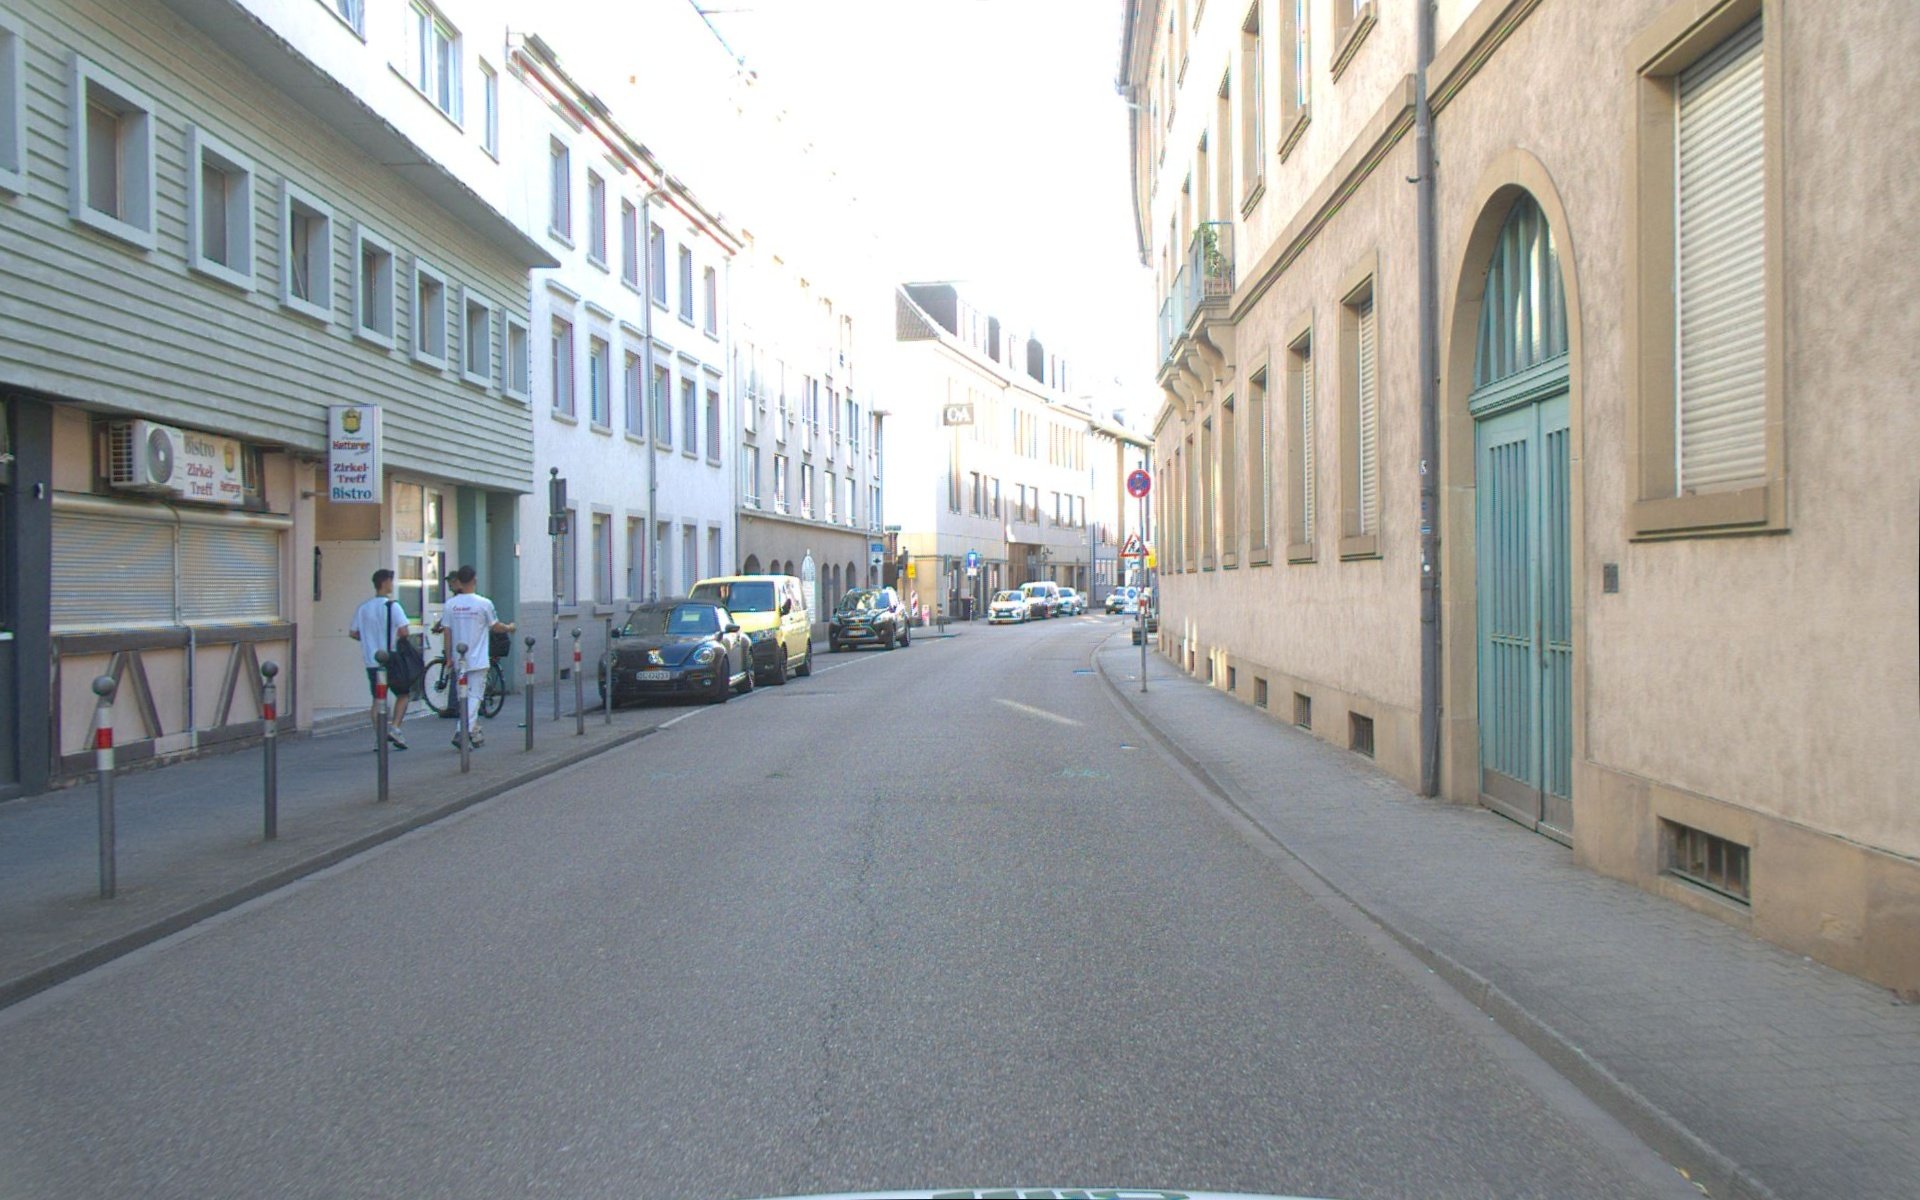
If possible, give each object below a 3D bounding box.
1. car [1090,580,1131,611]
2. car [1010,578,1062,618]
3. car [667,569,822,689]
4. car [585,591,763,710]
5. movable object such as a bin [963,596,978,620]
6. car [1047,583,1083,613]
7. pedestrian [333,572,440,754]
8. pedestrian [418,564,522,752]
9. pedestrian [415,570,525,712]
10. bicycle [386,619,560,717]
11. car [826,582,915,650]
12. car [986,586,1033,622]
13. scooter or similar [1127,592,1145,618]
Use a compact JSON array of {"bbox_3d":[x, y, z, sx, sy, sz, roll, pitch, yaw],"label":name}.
[{"bbox_3d":[8.127,-0.236,89.689,1.680,1.605,4.189,-1,0,-2],"label":"car"},{"bbox_3d":[3.831,-0.116,82.681,1.635,1.850,4.556,-2,0,14],"label":"car"},{"bbox_3d":[-3.828,0.466,30.267,1.841,1.899,4.866,-3,0,3],"label":"car"},{"bbox_3d":[-4.147,0.675,24.625,1.781,1.512,4.077,-3,0,1],"label":"car"},{"bbox_3d":[0.501,0.379,78.412,0.596,1.079,0.714,1,0,5],"label":"movable object such as a bin"},{"bbox_3d":[5.656,-0.120,88.667,1.244,1.533,3.404,-2,0,15],"label":"car"},{"bbox_3d":[-5.567,0.591,16.110,0.658,1.699,0.895,-2,0,2],"label":"pedestrian"},{"bbox_3d":[-4.755,0.548,16.095,0.683,1.764,0.829,-2,0,1],"label":"pedestrian"},{"bbox_3d":[-6.250,0.509,21.118,1.056,1.759,0.801,-1,0,24],"label":"pedestrian"},{"bbox_3d":[-6.215,0.856,21.105,2.086,1.183,0.823,-1,0,24],"label":"bicycle"},{"bbox_3d":[-2.464,0.408,46.604,1.703,1.740,4.194,-3,0,7],"label":"car"},{"bbox_3d":[2.322,0.158,76.973,1.635,1.533,3.797,-2,0,9],"label":"car"},{"bbox_3d":[8.202,0.235,77.003,0.754,1.156,0.269,1,0,11],"label":"scooter or similar"}]
